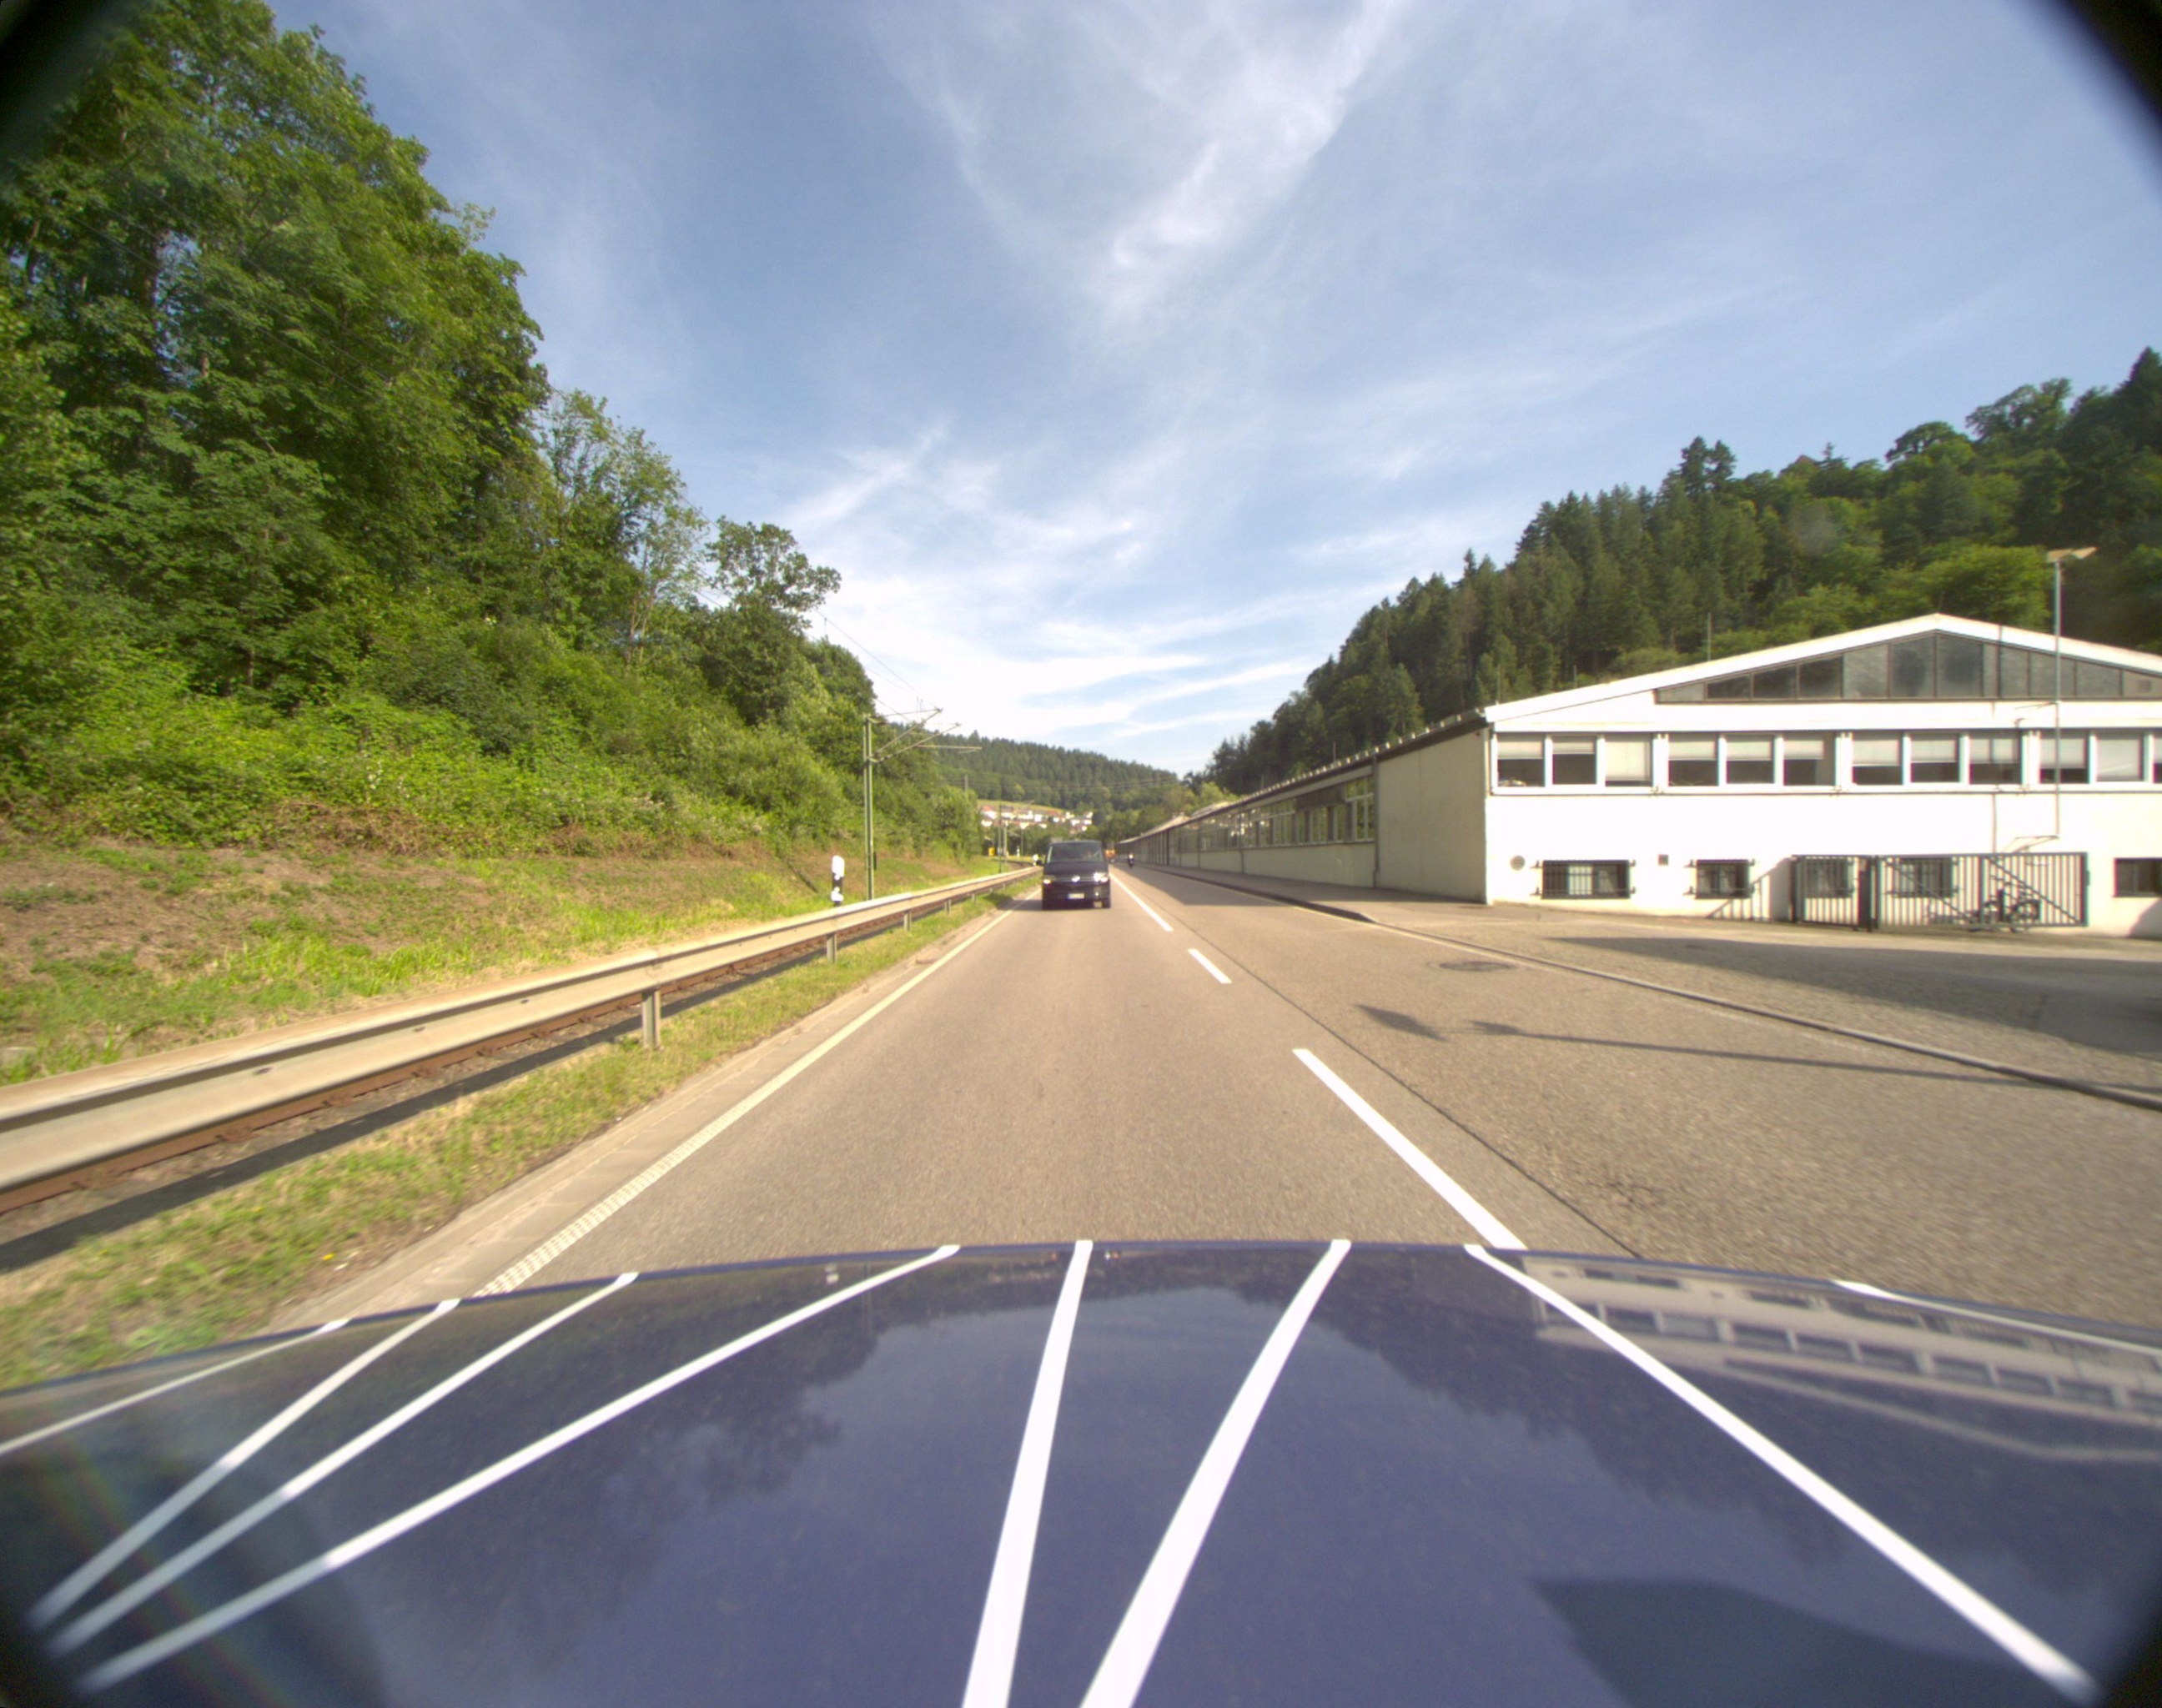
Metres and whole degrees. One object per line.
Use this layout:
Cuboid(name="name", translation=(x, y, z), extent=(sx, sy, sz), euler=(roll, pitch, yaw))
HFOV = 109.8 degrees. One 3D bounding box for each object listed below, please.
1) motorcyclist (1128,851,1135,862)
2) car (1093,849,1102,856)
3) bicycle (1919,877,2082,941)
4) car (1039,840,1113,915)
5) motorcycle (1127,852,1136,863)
Cuboid(name="motorcyclist", translation=(5.156, 0.233, 77.387), extent=(0.587, 1.118, 0.636), euler=(-1, 1, 0))
Cuboid(name="car", translation=(3.619, -0.267, 165.528), extent=(1.778, 1.482, 4.051), euler=(-3, 0, 0))
Cuboid(name="bicycle", translation=(19.733, 1.162, 16.343), extent=(2.499, 1.253, 1.041), euler=(1, 1, -8))
Cuboid(name="car", translation=(-0.231, 0.600, 22.643), extent=(1.901, 1.927, 5.187), euler=(-2, 0, -2))
Cuboid(name="motorcycle", translation=(5.083, 0.324, 77.223), extent=(0.743, 1.062, 2.492), euler=(-1, 1, 1))
